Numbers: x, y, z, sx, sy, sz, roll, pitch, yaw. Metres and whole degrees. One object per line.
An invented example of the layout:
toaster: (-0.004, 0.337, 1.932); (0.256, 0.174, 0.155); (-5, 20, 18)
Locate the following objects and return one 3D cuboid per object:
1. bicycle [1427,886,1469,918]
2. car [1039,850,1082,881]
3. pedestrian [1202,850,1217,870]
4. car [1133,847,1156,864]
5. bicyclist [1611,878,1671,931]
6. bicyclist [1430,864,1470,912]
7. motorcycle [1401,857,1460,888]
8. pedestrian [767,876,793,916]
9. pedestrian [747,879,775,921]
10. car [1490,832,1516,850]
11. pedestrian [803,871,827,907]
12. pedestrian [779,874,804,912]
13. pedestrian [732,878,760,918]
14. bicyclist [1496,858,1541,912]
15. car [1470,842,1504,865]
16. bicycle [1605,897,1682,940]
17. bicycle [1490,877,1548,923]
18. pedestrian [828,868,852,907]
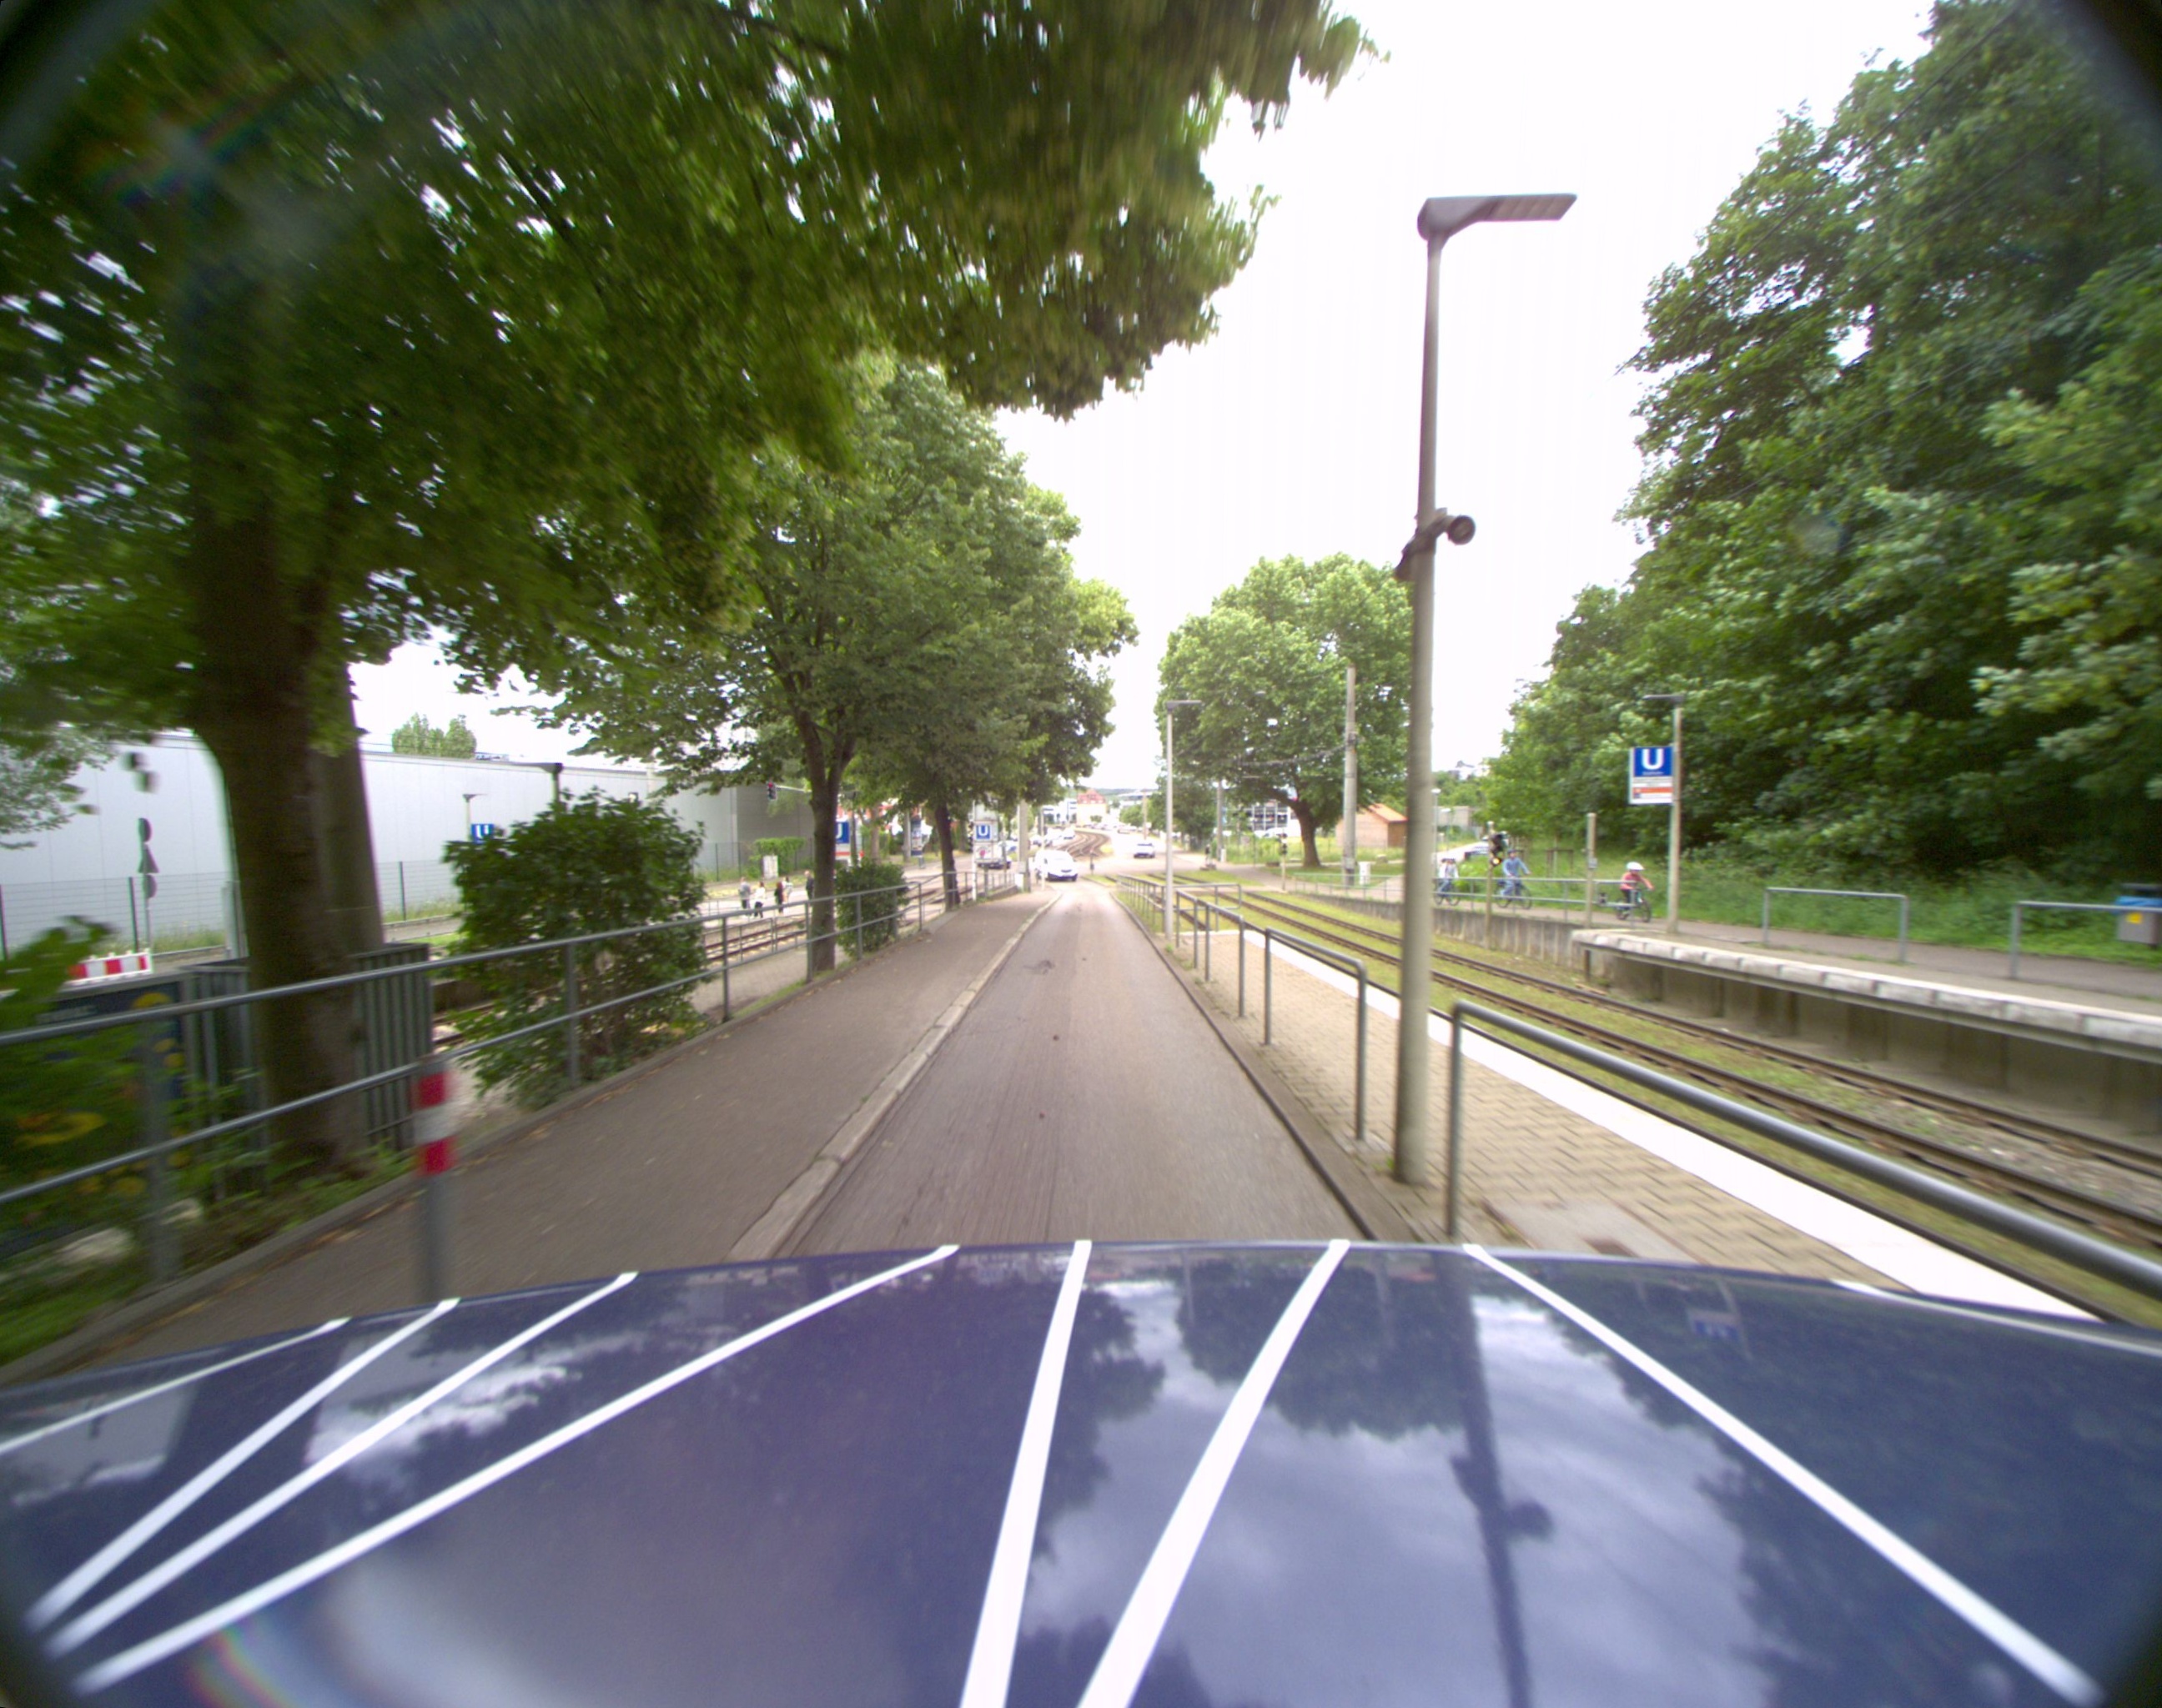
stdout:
bicycle: (11.206, 1.454, 23.253); (0.478, 0.919, 1.845); (-1, -1, 3)
car: (-1.390, 0.701, 49.454); (1.812, 1.910, 4.471); (-2, 1, -15)
pedestrian: (11.218, 0.499, 66.222); (1.116, 1.724, 0.695); (-1, 1, 23)
car: (6.538, 0.162, 77.952); (1.997, 1.648, 4.002); (-1, 1, 9)
bicyclist: (11.770, 1.051, 15.983); (0.691, 1.047, 0.744); (-1, 0, 1)
bicyclist: (11.219, 1.018, 23.119); (0.746, 1.422, 0.908); (-2, -1, 4)
motorcycle: (19.182, 0.991, 41.693); (3.064, 1.543, 1.257); (-2, 1, -26)
pedestrian: (-12.850, 1.798, 32.442); (0.752, 1.666, 0.684); (-1, 1, 12)
pedestrian: (-13.207, 1.891, 31.359); (0.752, 1.666, 0.684); (-1, 1, 12)
car: (41.329, -1.318, 74.355); (1.994, 1.674, 4.007); (-1, 1, 32)
pedestrian: (-12.623, 1.672, 36.043); (0.752, 1.666, 0.684); (-1, 1, 12)
pedestrian: (-13.091, 1.764, 34.356); (0.752, 1.666, 0.684); (-1, 1, 12)
pedestrian: (-14.386, 1.888, 32.643); (0.752, 1.666, 0.684); (-1, 1, 12)
bicyclist: (12.004, 0.847, 20.870); (0.732, 1.434, 0.840); (-1, -1, -1)
car: (31.981, -0.040, 59.790); (1.994, 1.674, 4.007); (-1, 1, 32)
bicycle: (11.715, 1.326, 15.880); (0.451, 0.776, 1.565); (-1, -1, 1)
bicycle: (12.024, 1.237, 20.928); (0.464, 1.181, 1.940); (-1, -1, 1)
pedestrian: (-11.328, 1.581, 35.741); (0.752, 1.794, 0.684); (-1, 1, 12)
